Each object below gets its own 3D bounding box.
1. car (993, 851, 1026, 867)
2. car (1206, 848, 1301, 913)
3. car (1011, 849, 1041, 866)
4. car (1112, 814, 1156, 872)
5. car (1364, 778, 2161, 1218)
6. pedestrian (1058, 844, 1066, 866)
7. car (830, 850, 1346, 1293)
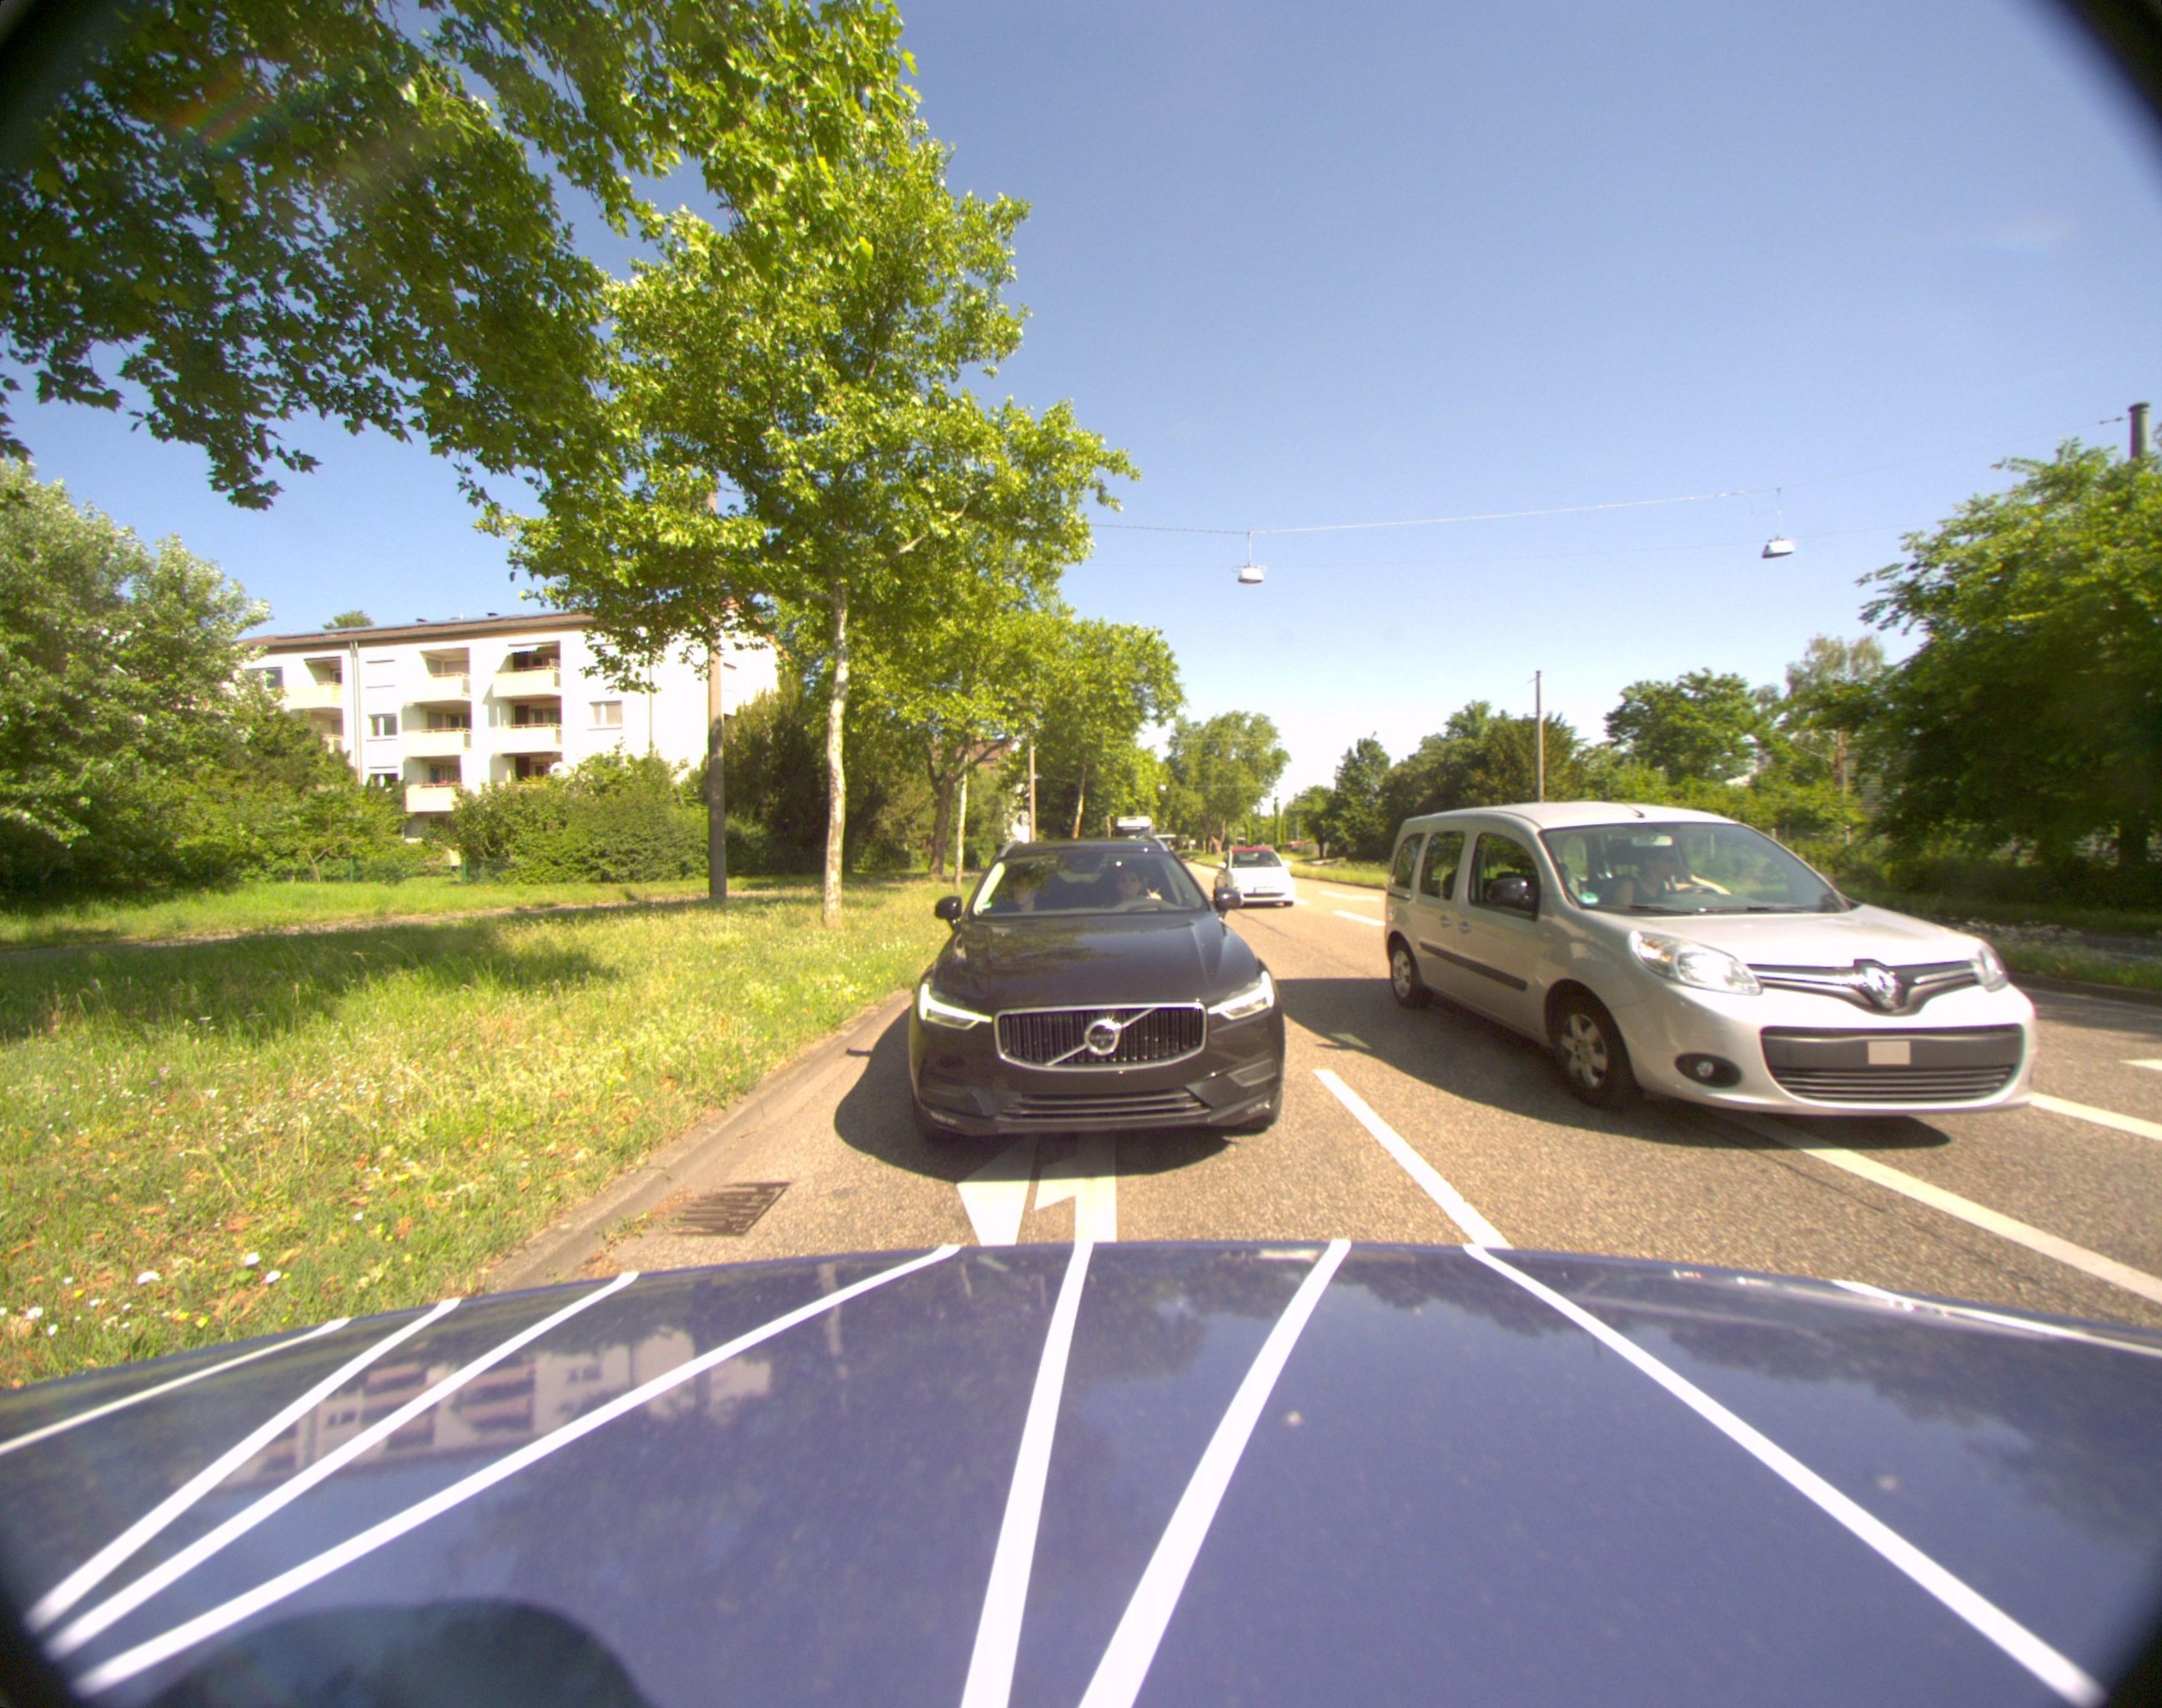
[{"bbox_3d":[-6.439,0.421,68.526,1.504,1.364,4.094,0,1,17],"label":"car"},{"bbox_3d":[4.484,0.612,20.318,1.689,1.482,4.376,-3,1,3],"label":"car"},{"bbox_3d":[-5.321,0.327,73.805,1.504,1.633,4.094,0,1,17],"label":"car"},{"bbox_3d":[3.684,-0.779,54.429,2.902,3.898,7.141,0,1,2],"label":"car"},{"bbox_3d":[3.686,0.594,5.373,1.876,1.829,4.375,-1,1,2],"label":"car"},{"bbox_3d":[-1.796,0.108,70.074,0.639,2.002,0.480,0,1,10],"label":"pedestrian"},{"bbox_3d":[0.061,0.816,5.303,1.904,1.606,4.872,-2,1,1],"label":"car"}]
